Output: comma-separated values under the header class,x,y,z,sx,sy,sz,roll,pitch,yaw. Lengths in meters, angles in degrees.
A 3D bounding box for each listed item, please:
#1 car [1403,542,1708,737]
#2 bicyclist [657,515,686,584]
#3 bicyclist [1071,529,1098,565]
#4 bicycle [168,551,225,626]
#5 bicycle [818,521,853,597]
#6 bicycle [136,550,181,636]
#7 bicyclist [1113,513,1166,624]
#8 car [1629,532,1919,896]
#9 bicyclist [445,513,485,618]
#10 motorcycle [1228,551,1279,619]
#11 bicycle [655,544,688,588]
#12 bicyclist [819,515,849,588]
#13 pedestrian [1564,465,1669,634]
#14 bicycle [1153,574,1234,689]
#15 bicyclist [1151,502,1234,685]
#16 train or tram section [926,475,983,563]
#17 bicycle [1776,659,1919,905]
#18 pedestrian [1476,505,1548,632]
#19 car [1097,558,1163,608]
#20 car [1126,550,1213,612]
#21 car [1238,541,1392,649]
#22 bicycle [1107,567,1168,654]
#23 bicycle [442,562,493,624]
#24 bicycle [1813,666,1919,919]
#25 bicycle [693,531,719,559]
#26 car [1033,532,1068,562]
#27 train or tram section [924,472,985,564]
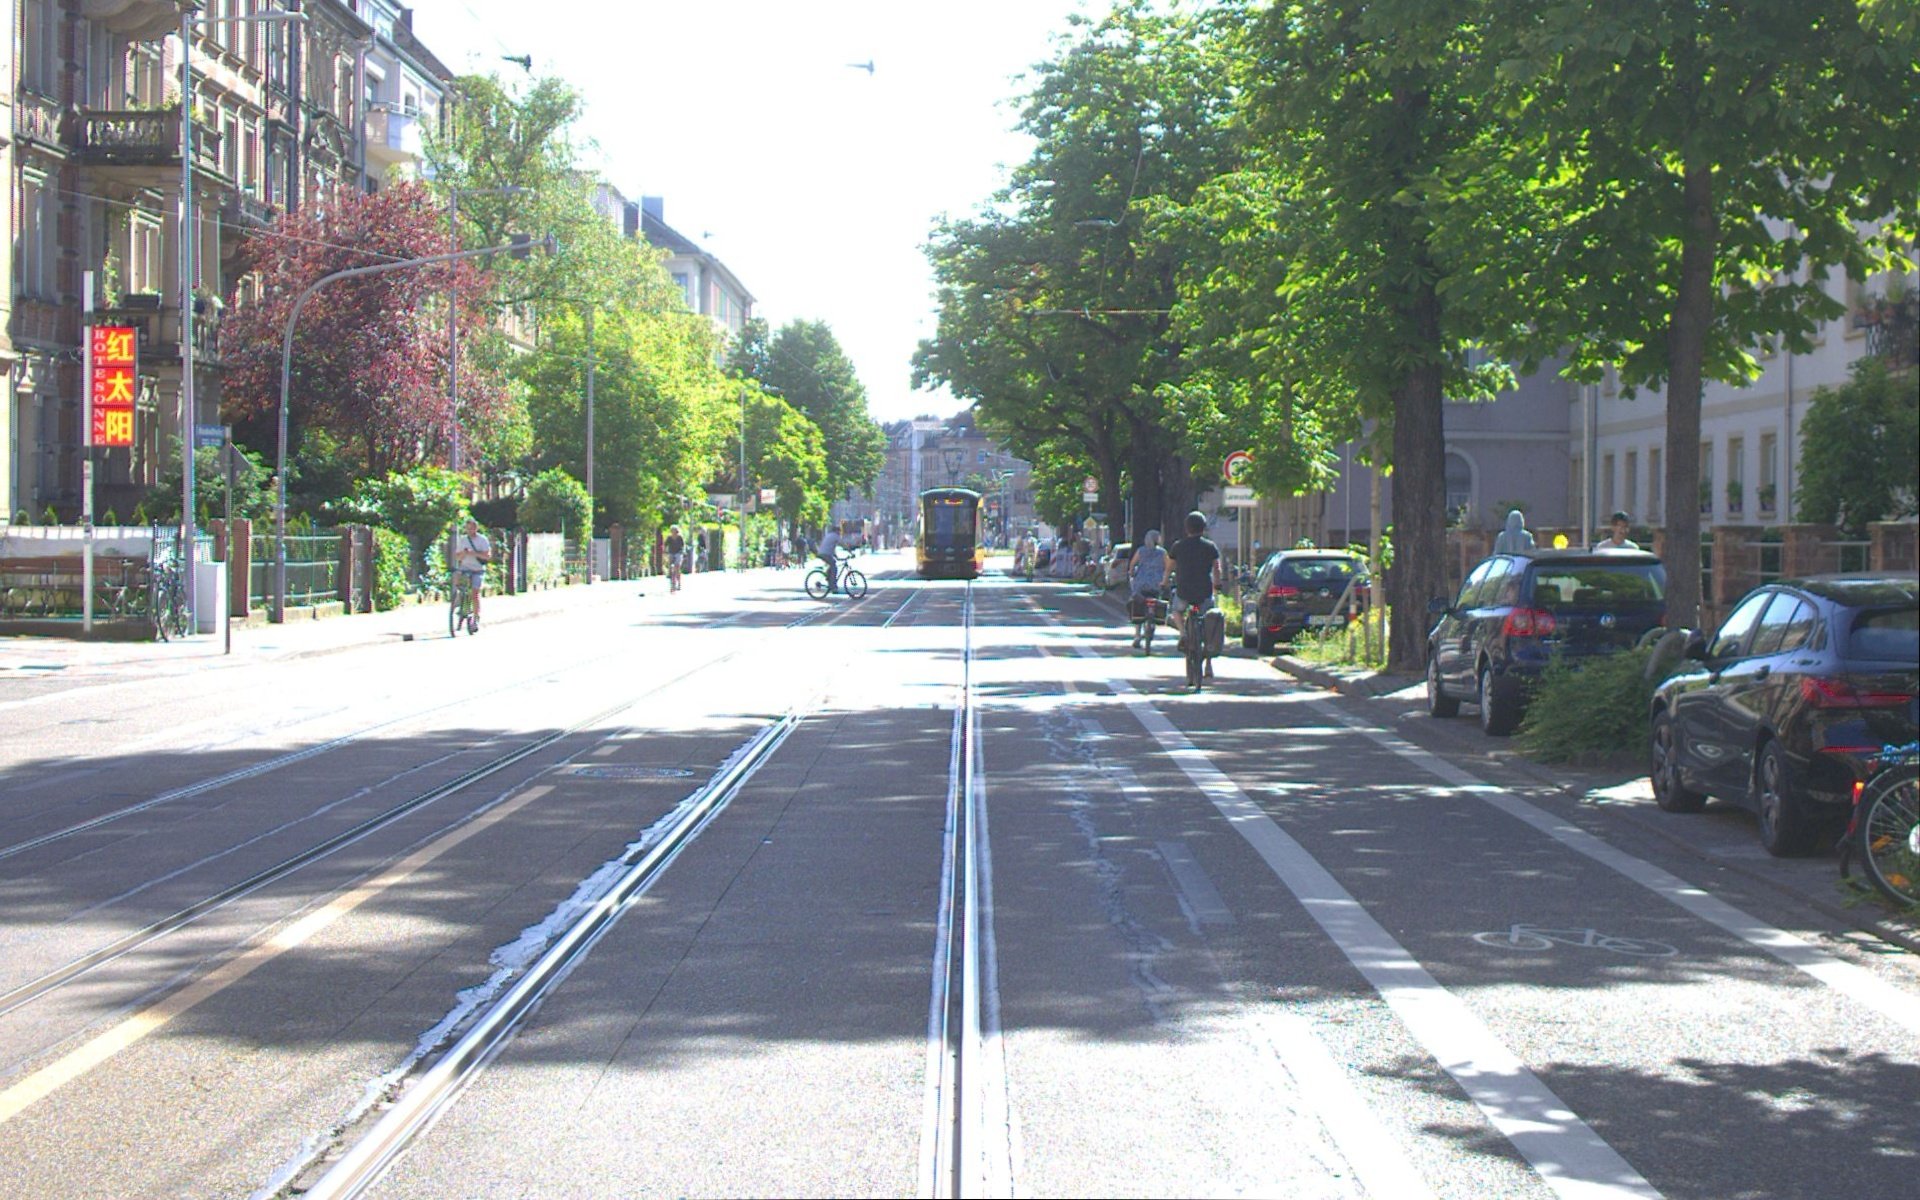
class,x,y,z,sx,sy,sz,roll,pitch,yaw
car,4.886,0.270,28.724,1.720,1.468,4.247,0,1,-1
bicyclist,-7.573,-1.318,90.318,0.660,1.795,0.616,-1,0,0
bicyclist,4.627,-1.957,127.589,0.773,1.287,0.733,2,1,16
bicycle,-10.609,-0.175,47.796,0.335,0.997,1.870,2,1,0
bicycle,-3.102,-1.036,85.945,0.663,1.853,2.260,2,1,1
bicycle,-10.824,-0.100,46.436,0.371,1.122,0.809,2,1,0
bicyclist,2.413,-0.425,46.284,0.635,1.463,0.616,2,1,0
car,4.956,0.523,18.863,1.665,1.755,4.232,1,1,-1
bicyclist,-7.669,-0.540,53.298,0.464,1.613,0.744,-1,1,0
motorcycle,5.424,-0.286,63.673,0.495,1.186,1.862,-3,2,-7
bicycle,-7.567,-0.896,90.297,0.692,1.108,1.719,-1,1,0
bicyclist,-3.156,-1.221,85.950,0.645,1.789,0.956,2,1,0
pedestrian,6.993,-0.539,36.650,0.599,1.765,0.913,-3,2,-30
bicycle,2.403,0.312,35.505,0.692,1.108,1.719,2,1,0
bicyclist,2.392,-0.076,35.436,0.727,1.842,0.837,2,1,-1
train or tram section,-0.224,-3.297,139.843,2.153,3.420,6.611,2,1,0
bicycle,4.681,0.848,15.700,1.761,1.074,0.433,2,1,2
pedestrian,7.655,-0.441,47.687,0.764,1.718,0.579,3,1,30
car,5.098,-0.520,103.363,1.748,1.415,4.000,0,1,0
car,5.112,-0.497,84.363,1.628,1.431,4.666,0,1,-3
car,5.035,-0.107,49.225,1.787,1.459,4.045,0,1,0
bicycle,2.389,0.129,46.480,0.692,1.108,1.917,2,1,0
bicycle,-7.651,-0.116,53.489,0.460,0.922,2.203,-1,1,0
bicycle,4.729,0.870,15.206,1.761,1.074,0.433,2,1,2
bicycle,-10.108,-2.199,136.956,0.632,1.065,1.832,2,1,-17
car,4.902,-2.889,186.118,1.754,1.546,3.677,2,1,0
train or tram section,-0.212,-3.168,133.204,2.153,3.420,6.611,2,1,0
